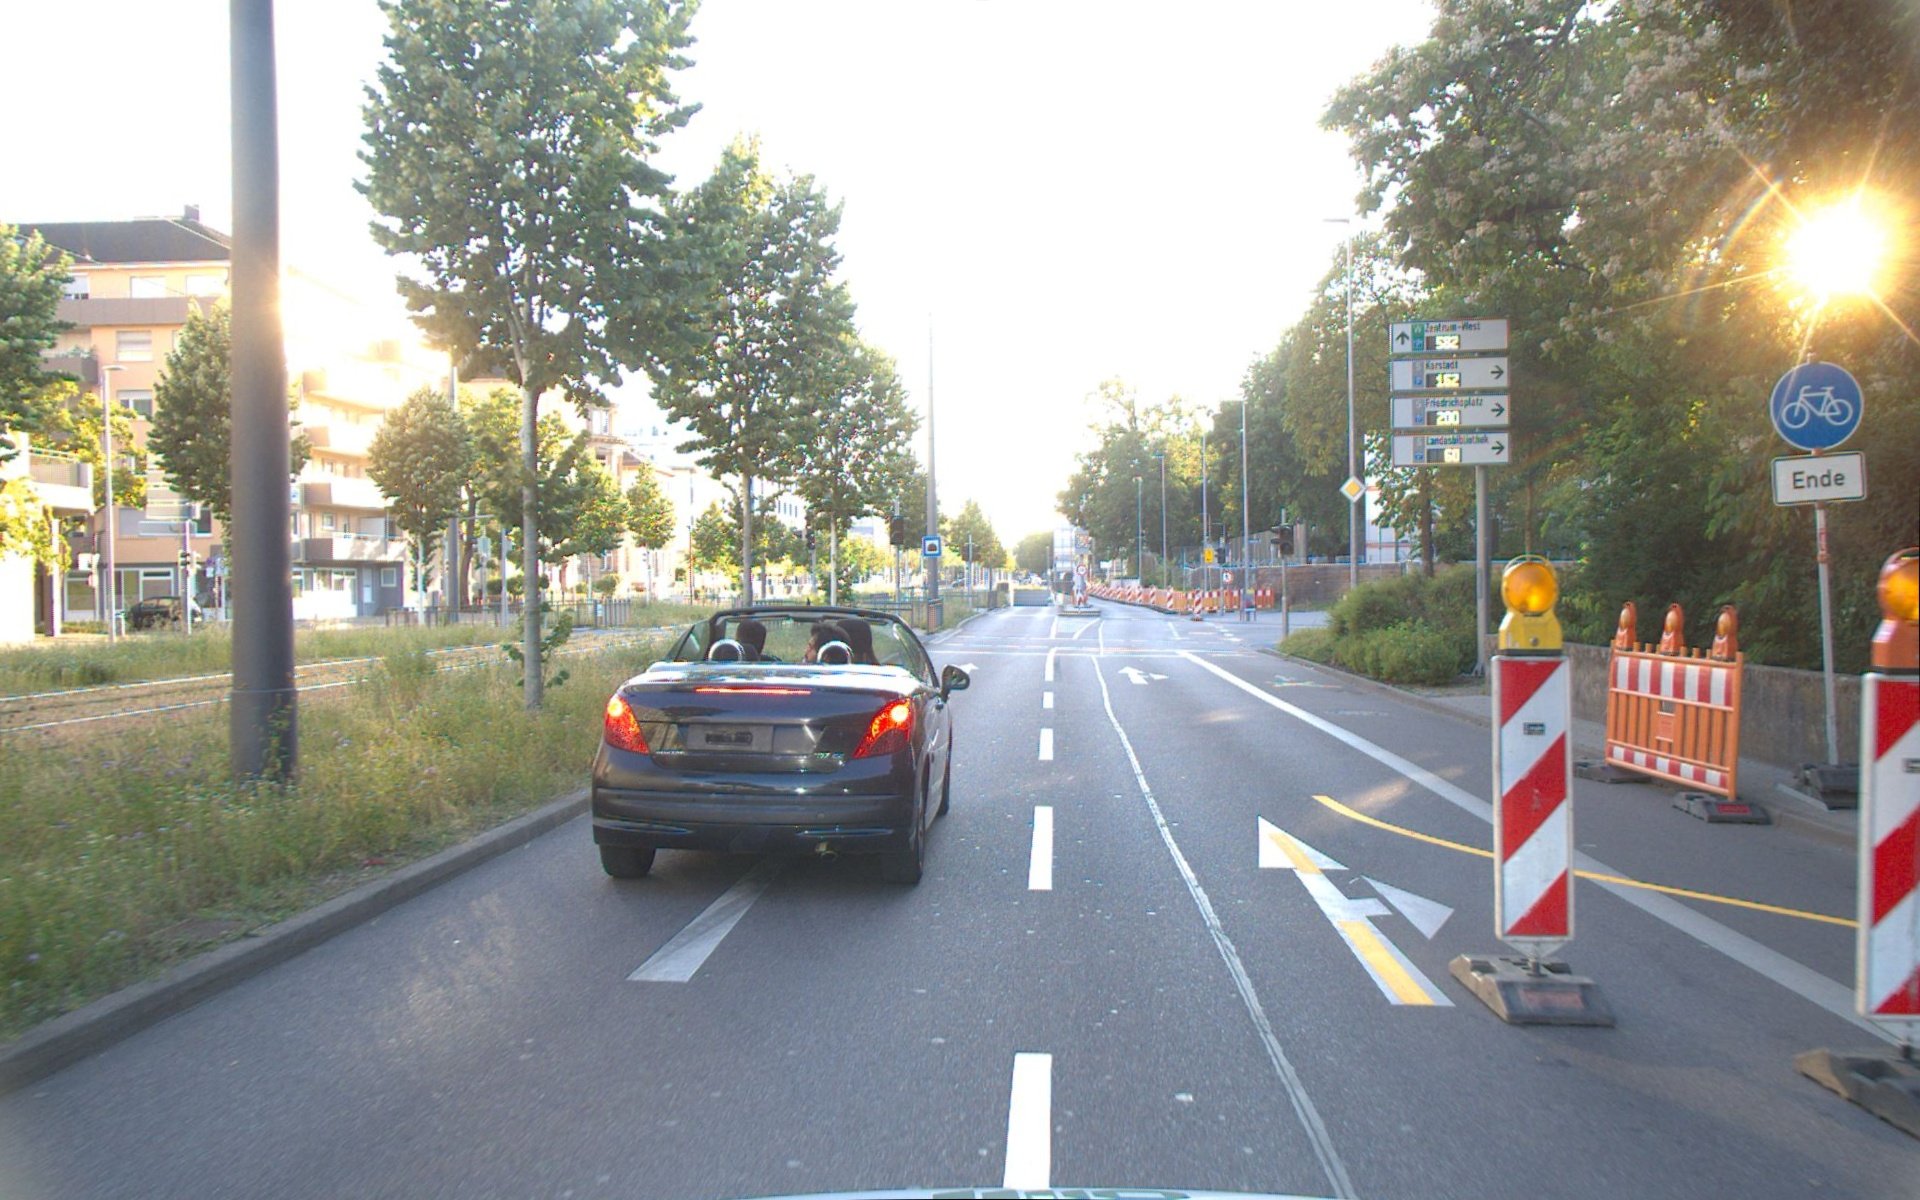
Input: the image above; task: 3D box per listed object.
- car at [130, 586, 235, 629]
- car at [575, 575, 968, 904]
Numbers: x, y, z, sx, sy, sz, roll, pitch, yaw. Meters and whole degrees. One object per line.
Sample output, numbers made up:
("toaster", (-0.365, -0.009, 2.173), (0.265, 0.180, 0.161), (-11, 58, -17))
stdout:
("car", (-36.223, 0.341, 77.126), (3.851, 1.878, 2.192), (-1, 0, 2))
("car", (-0.876, 0.621, 9.674), (1.683, 1.475, 3.903), (1, 1, 2))
